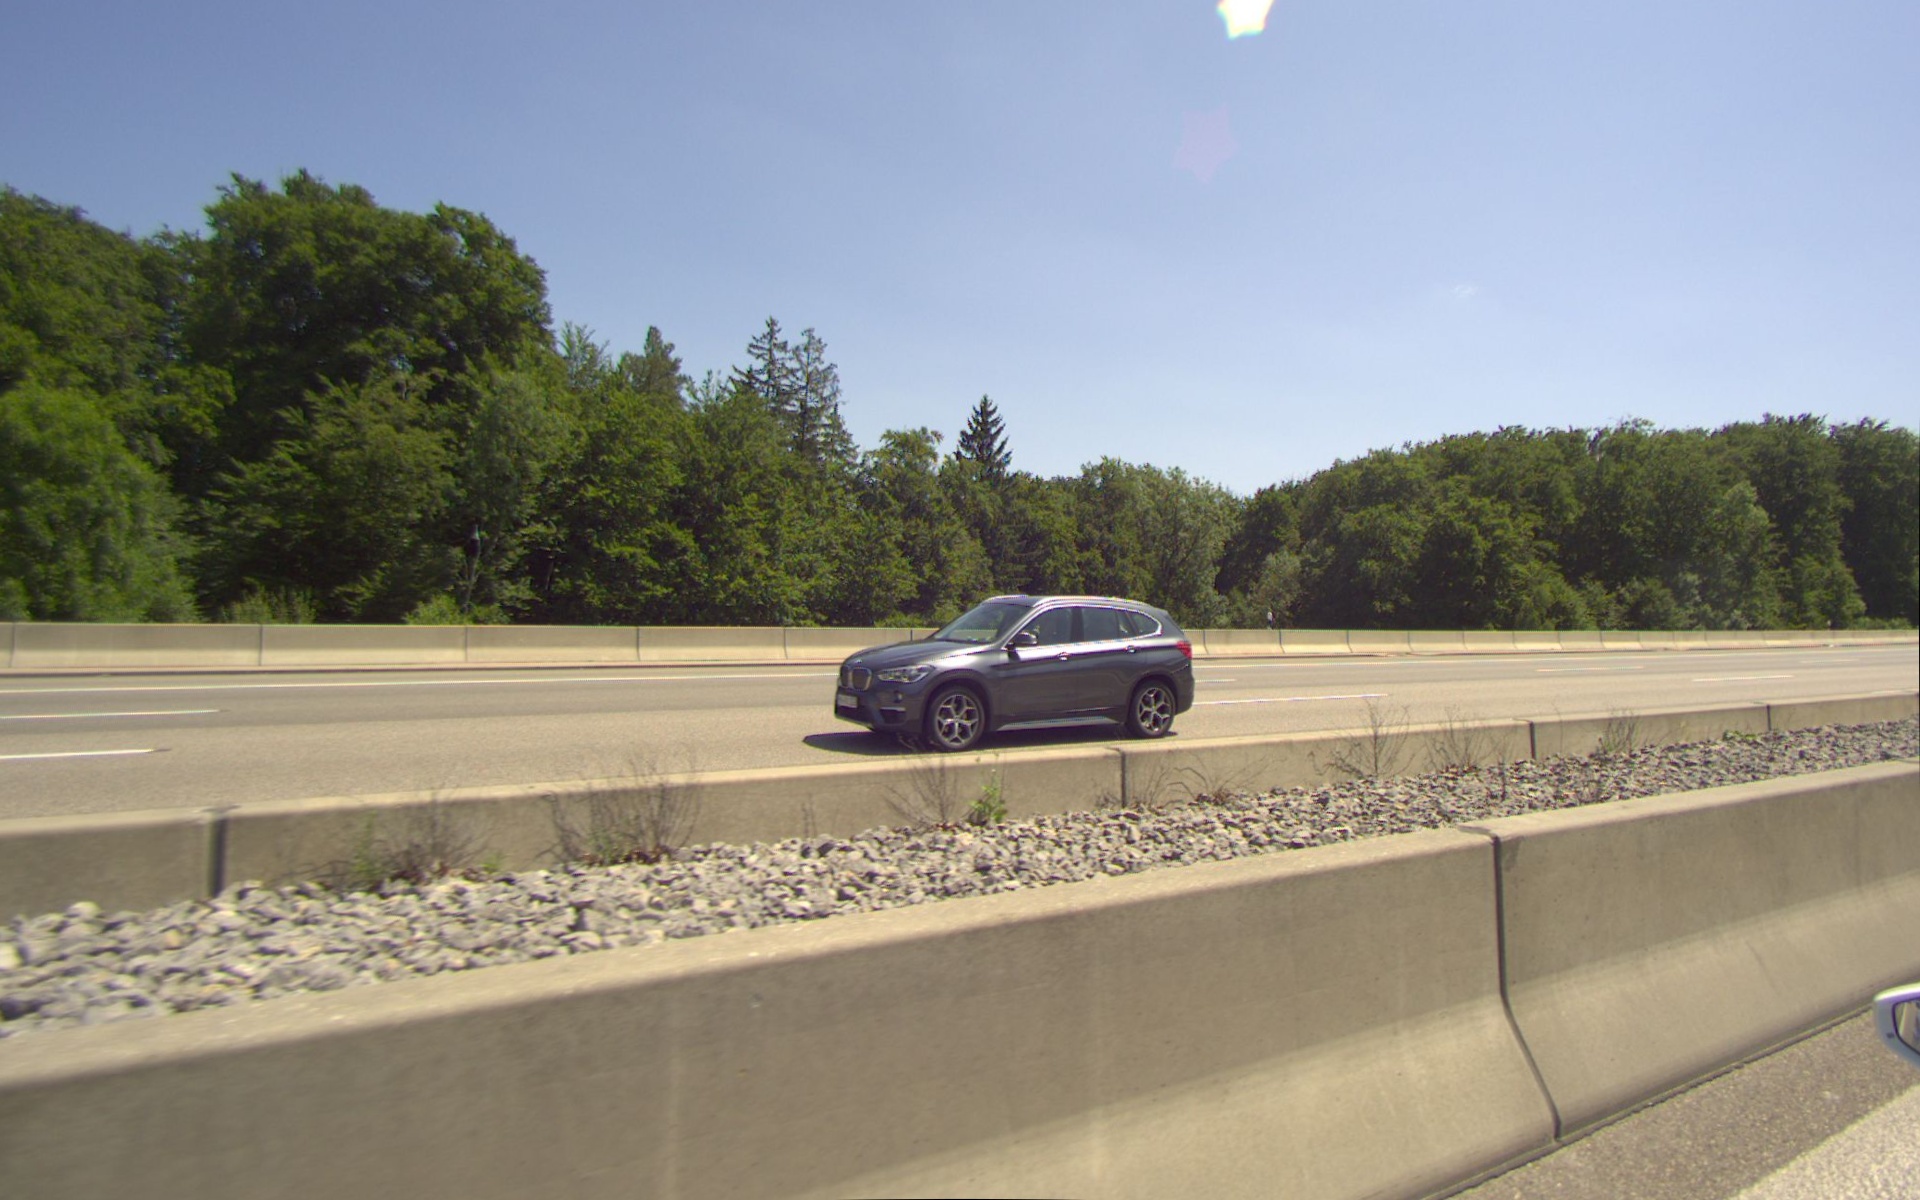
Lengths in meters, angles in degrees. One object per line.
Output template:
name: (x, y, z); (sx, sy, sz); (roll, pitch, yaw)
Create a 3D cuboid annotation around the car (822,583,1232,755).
car: (0.870, 0.681, 11.621); (4.585, 1.657, 1.745); (0, 0, -32)
